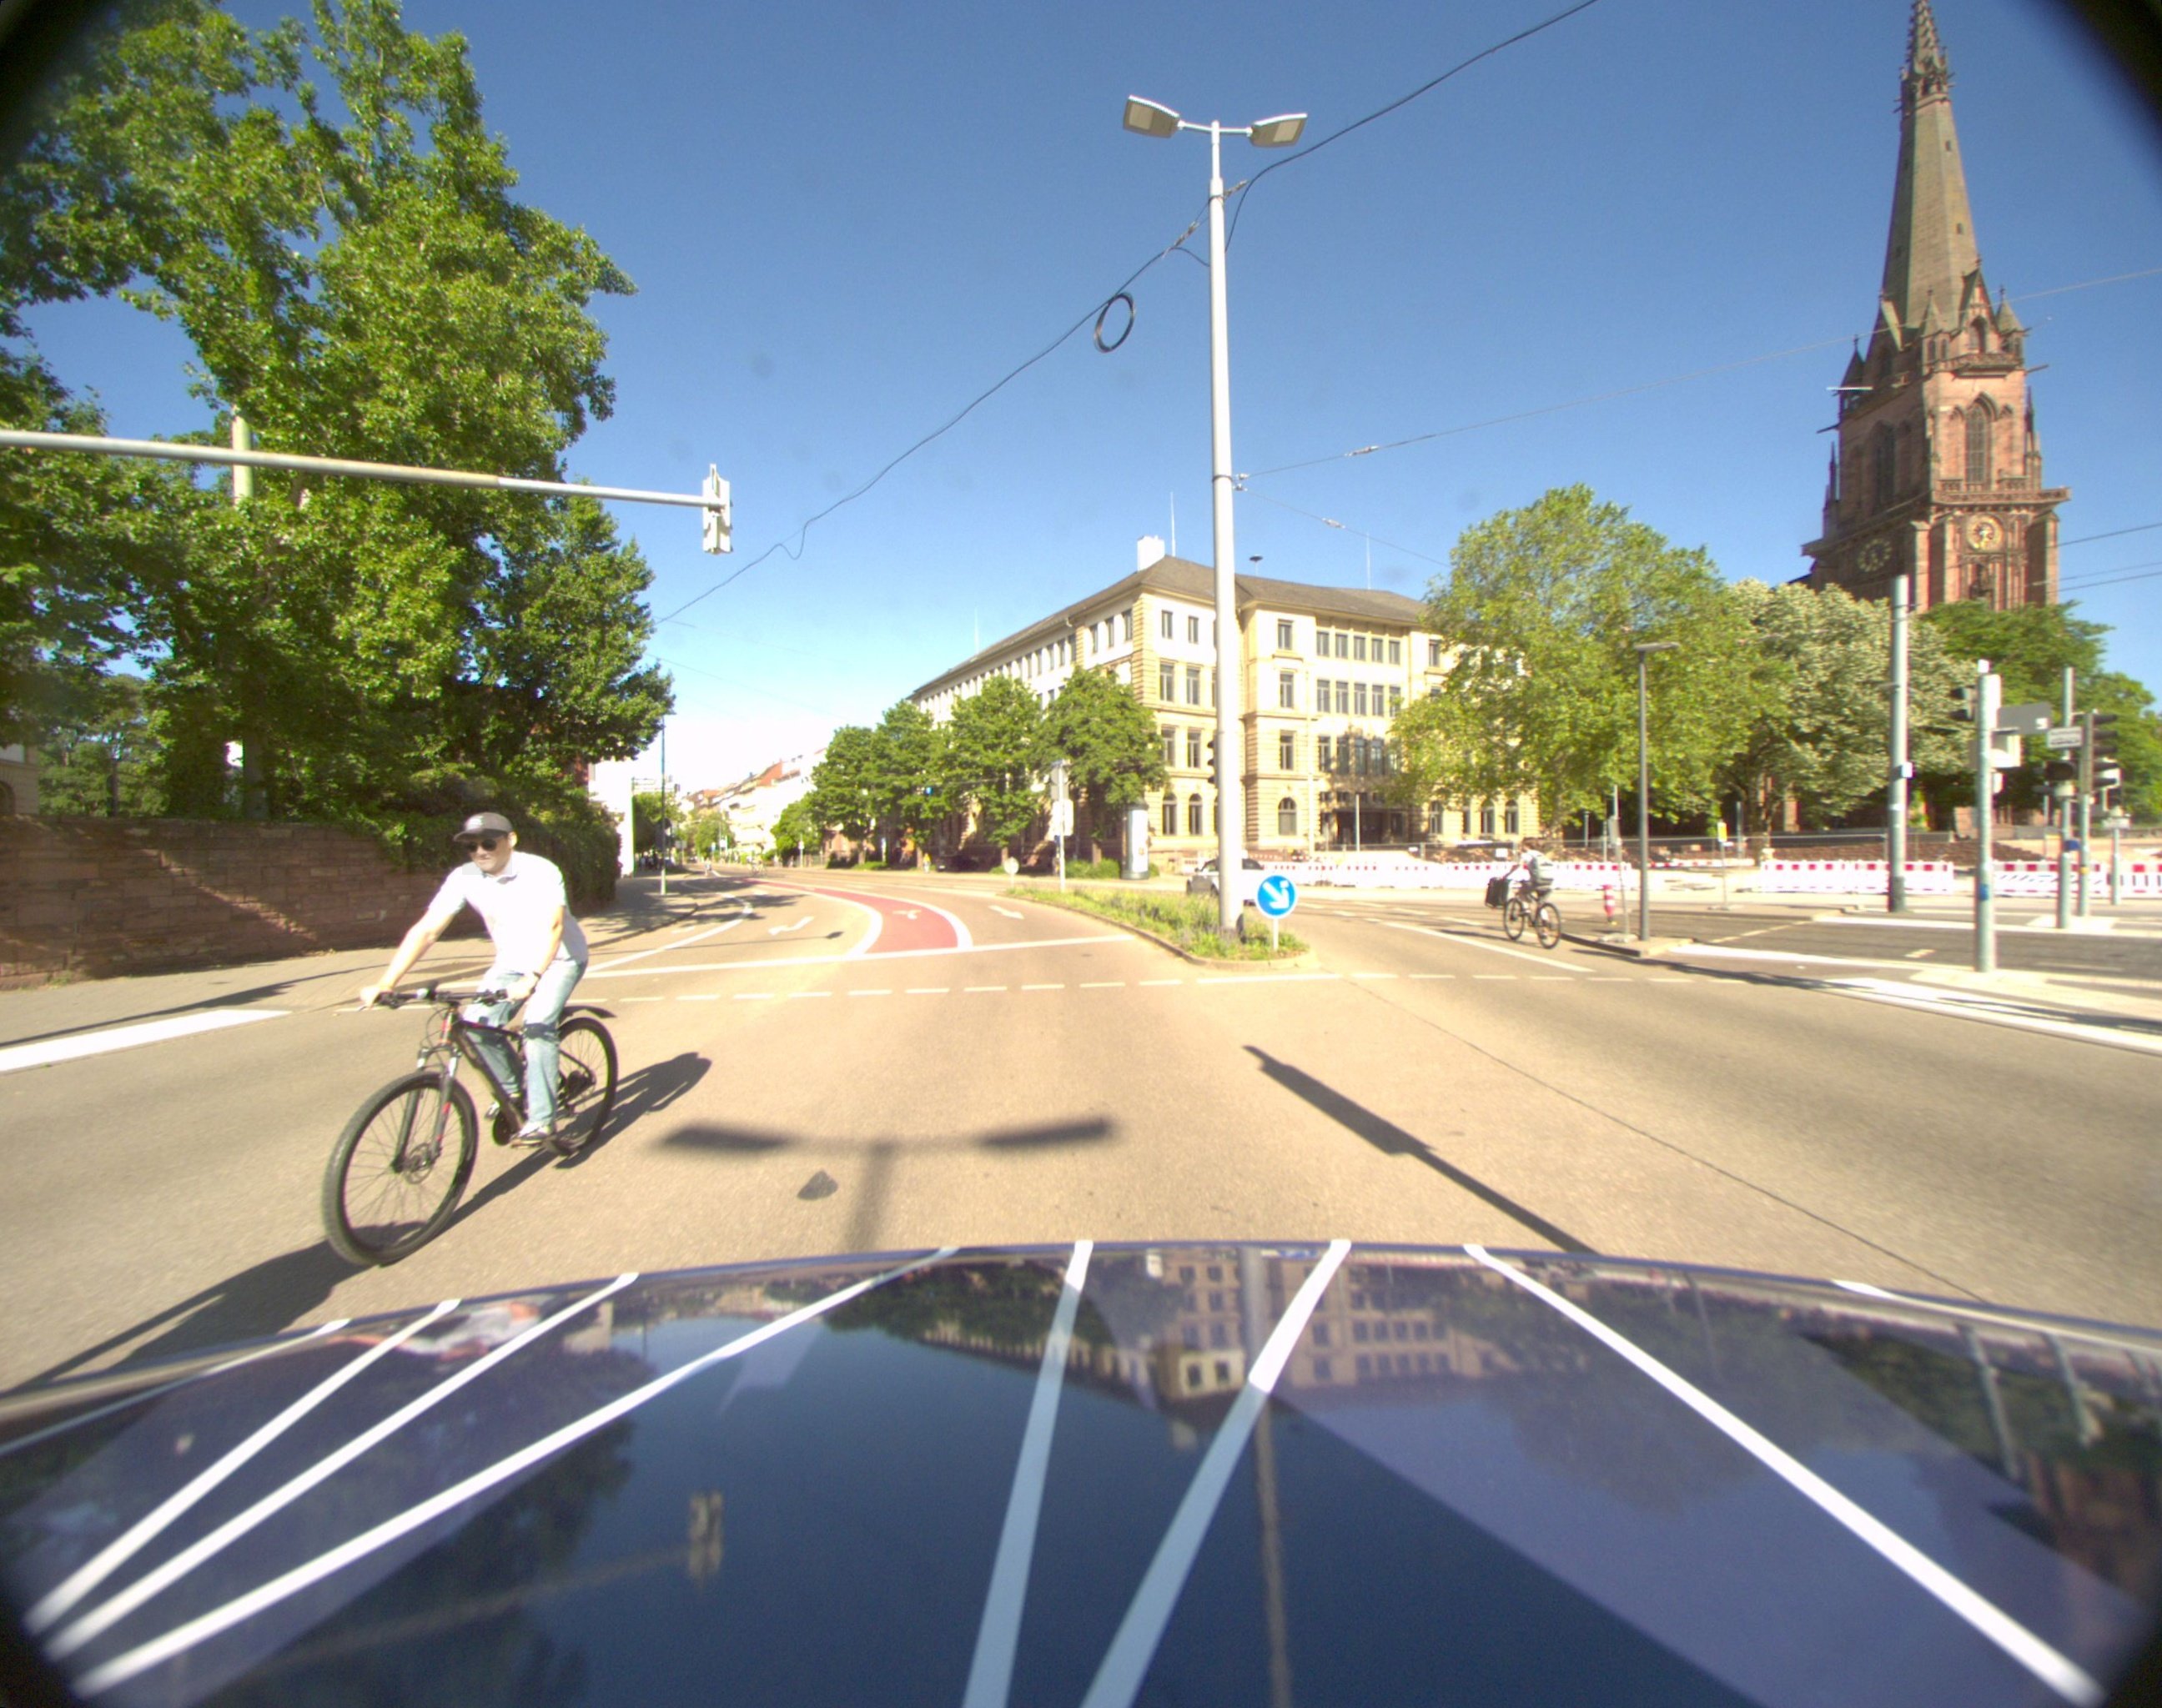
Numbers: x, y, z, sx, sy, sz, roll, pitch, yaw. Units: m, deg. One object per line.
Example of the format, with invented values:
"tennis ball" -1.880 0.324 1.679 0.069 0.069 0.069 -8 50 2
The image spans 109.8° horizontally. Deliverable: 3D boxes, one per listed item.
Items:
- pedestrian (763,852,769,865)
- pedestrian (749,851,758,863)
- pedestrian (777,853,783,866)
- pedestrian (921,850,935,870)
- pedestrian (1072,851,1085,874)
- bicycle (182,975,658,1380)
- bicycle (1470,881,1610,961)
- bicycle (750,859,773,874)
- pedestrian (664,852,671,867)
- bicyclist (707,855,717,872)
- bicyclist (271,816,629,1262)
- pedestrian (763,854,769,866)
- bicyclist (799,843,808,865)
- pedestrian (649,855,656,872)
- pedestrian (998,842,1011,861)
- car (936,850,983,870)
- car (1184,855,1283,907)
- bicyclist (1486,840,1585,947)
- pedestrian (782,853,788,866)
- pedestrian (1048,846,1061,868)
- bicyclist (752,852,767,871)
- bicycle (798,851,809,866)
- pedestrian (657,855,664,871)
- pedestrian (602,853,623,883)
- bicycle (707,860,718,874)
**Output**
"pedestrian" -46.450 0.688 112.009 0.580 1.845 0.683 -1 1 -33
"pedestrian" -46.715 0.377 108.283 0.677 1.728 0.933 0 1 38
"pedestrian" -42.190 0.785 106.408 0.580 1.845 0.683 -1 1 -33
"pedestrian" -13.005 0.541 64.727 0.773 1.658 1.031 1 -4 -37
"pedestrian" -0.173 0.598 53.661 0.580 1.553 0.652 -1 1 -33
"bicycle" -2.792 1.268 3.544 0.612 1.071 1.829 -2 1 -2
"bicycle" 7.262 1.018 12.168 0.776 1.074 2.033 0 1 -9
"bicycle" -27.295 1.056 64.848 1.602 1.145 0.743 -3 3 -41
"pedestrian" -46.608 0.611 85.685 0.589 1.717 0.519 -2 1 -34
"bicyclist" -32.698 0.799 67.372 0.666 1.453 0.621 -3 3 -29
"bicyclist" -2.815 0.735 3.542 0.751 1.765 1.014 -2 1 -2
"pedestrian" -46.375 0.898 111.951 0.730 1.845 0.652 -1 1 -31
"bicyclist" -38.287 -0.050 104.786 1.005 2.959 1.471 -2 3 -16
"pedestrian" -47.850 1.055 84.844 0.589 1.795 0.544 -2 1 -34
"pedestrian" -6.608 -0.225 65.879 0.674 1.558 0.856 -7 5 -37
"car" -10.530 0.505 66.125 1.916 1.565 4.117 0 1 30
"car" 4.573 0.769 23.389 1.806 1.385 4.090 1 0 -7
"bicyclist" 7.268 0.597 12.198 0.883 1.635 1.059 0 1 -9
"pedestrian" -41.649 0.757 106.804 0.580 1.845 0.683 -1 1 -33
"pedestrian" -2.051 0.246 58.150 0.731 1.660 0.844 -1 3 -23
"bicyclist" -27.392 0.610 64.758 0.881 1.574 0.743 -4 3 -41
"bicycle" -38.266 0.642 104.850 1.005 1.877 3.887 -2 2 -16
"pedestrian" -47.169 1.037 85.293 0.589 1.795 0.519 -2 1 -34
"pedestrian" -26.537 0.775 43.012 0.942 1.668 0.951 2 0 -35
"bicycle" -32.697 1.129 67.404 0.666 1.146 1.668 -3 3 -29
